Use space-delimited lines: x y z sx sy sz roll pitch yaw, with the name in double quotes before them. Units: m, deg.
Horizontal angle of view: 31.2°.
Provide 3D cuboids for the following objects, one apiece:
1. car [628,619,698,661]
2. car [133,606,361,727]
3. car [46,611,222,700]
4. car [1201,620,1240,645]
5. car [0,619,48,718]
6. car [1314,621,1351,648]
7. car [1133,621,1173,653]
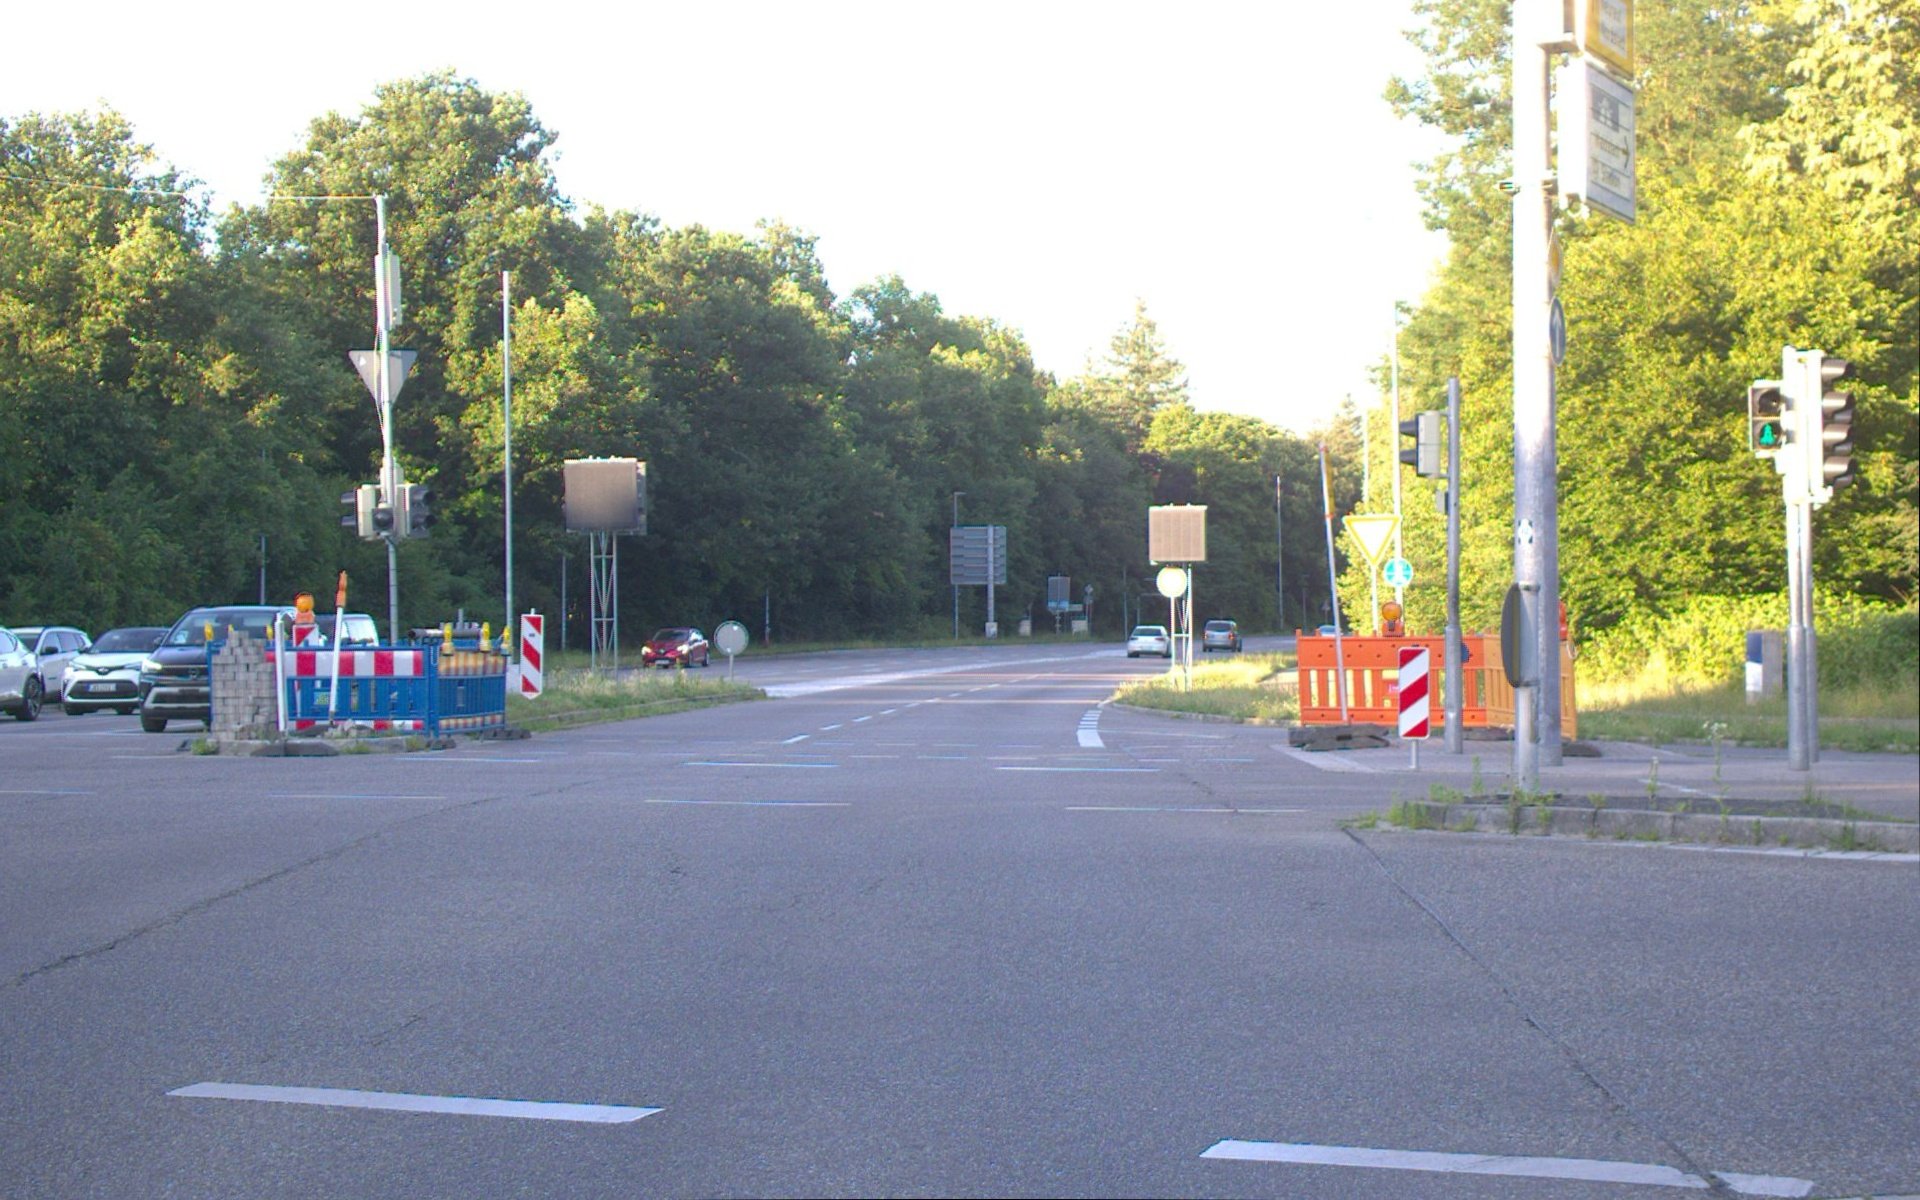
"car" -10.714 1.432 124.140 1.878 1.417 4.232 0 0 4
"car" -9.073 0.822 44.079 1.716 1.451 4.232 0 0 5
"car" -14.195 0.927 59.283 1.716 1.451 4.232 0 0 5
"car" 13.645 1.699 179.944 1.457 1.240 2.961 0 0 16
"car" -15.087 1.035 50.942 1.716 1.451 4.232 0 0 5
"car" 22.226 2.051 205.113 1.578 1.529 3.675 0 0 15
"car" 8.544 1.642 152.043 1.547 1.343 3.113 0 0 7
